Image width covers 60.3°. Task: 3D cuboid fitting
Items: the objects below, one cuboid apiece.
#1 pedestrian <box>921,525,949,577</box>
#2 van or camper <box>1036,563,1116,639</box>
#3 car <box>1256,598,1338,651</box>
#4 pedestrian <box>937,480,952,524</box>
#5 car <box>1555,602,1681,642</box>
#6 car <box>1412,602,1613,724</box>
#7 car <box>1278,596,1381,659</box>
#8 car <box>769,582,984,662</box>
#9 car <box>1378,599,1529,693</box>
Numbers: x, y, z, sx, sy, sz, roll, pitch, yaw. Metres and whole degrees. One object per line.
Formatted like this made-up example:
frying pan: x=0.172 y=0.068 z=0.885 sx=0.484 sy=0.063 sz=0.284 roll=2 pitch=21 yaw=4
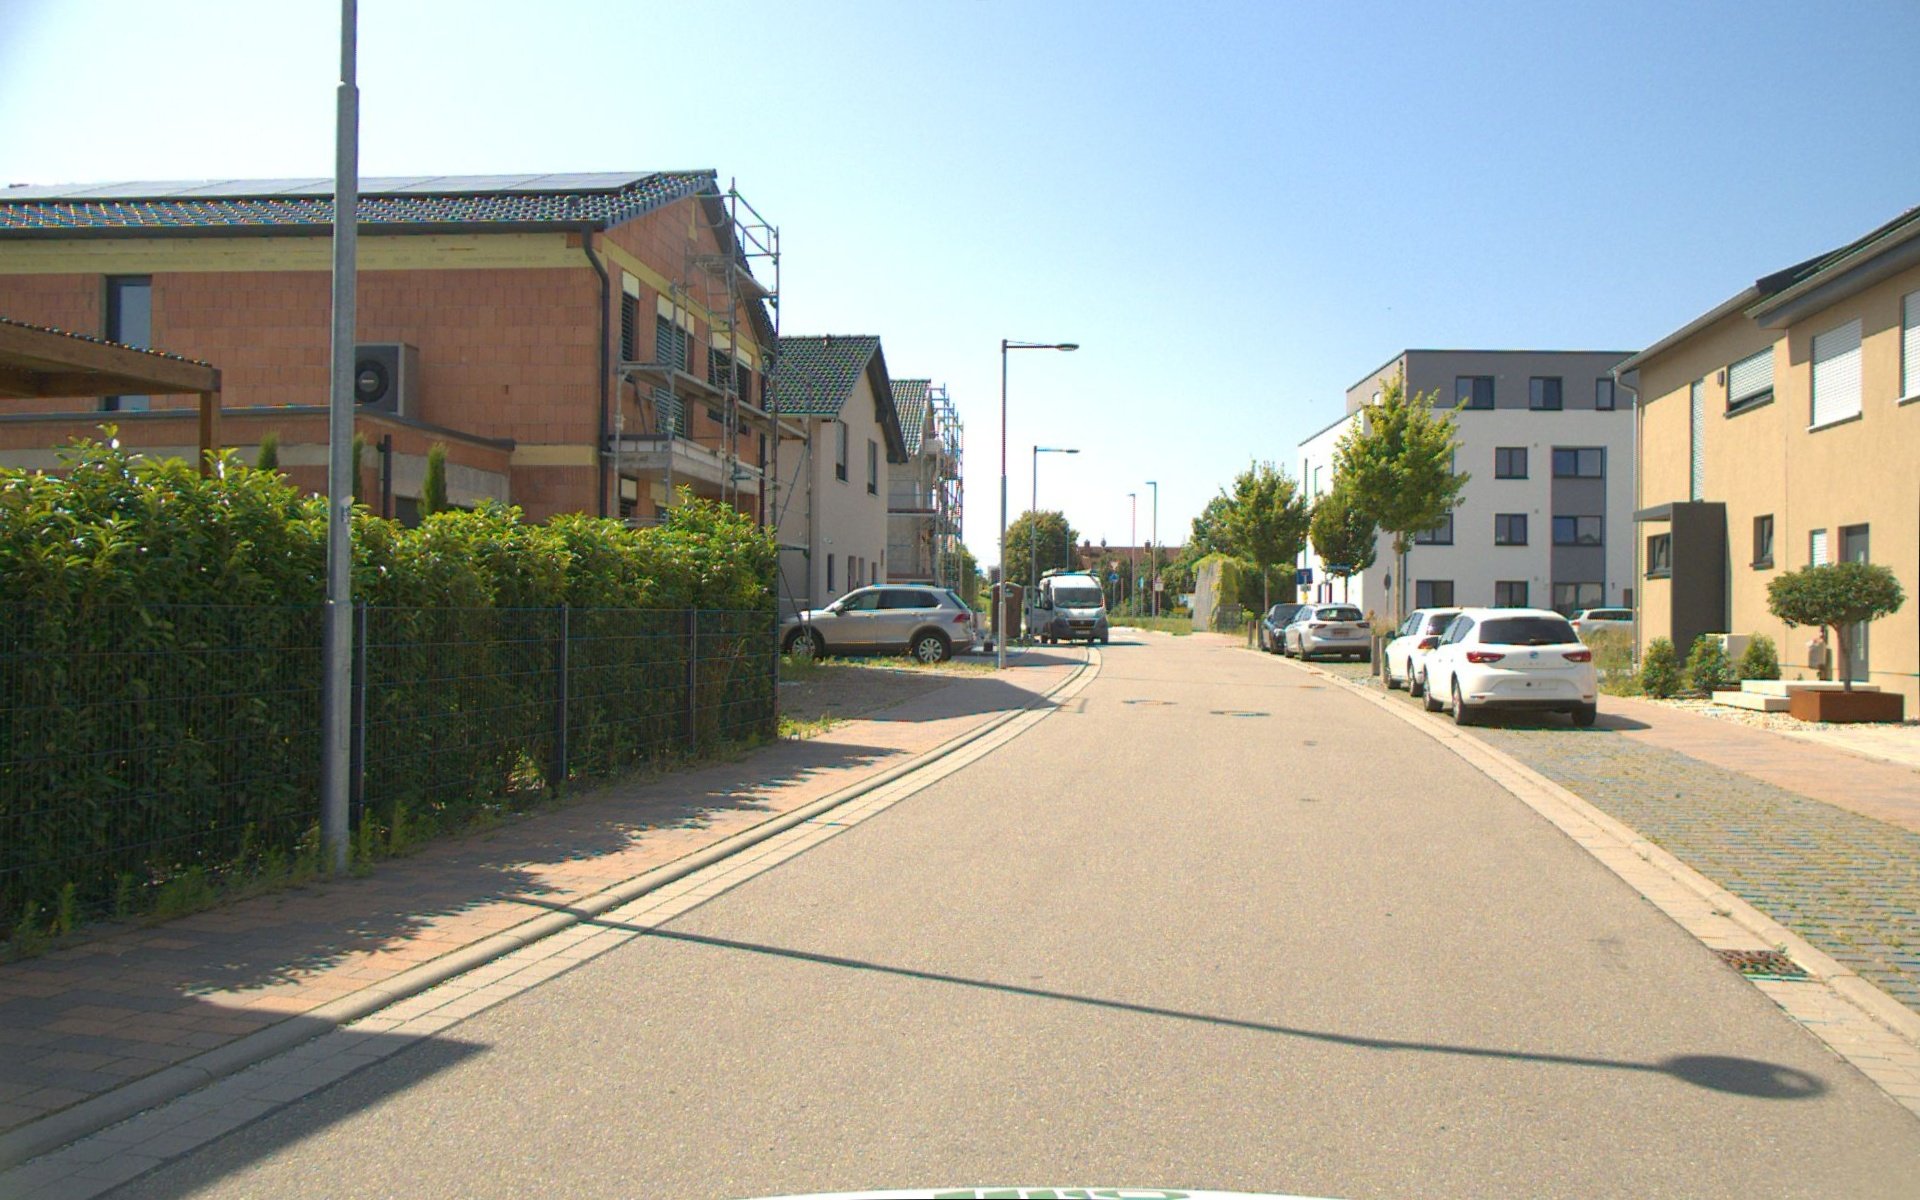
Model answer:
pedestrian: x=-0.848 y=-1.670 z=56.305 sx=0.741 sy=1.709 sz=0.570 roll=2 pitch=-3 yaw=-39
van or camper: x=4.154 y=0.077 z=60.398 sx=2.227 sy=2.598 sz=6.363 roll=0 pitch=-1 yaw=-3
car: x=10.298 y=0.708 z=50.851 sx=1.878 sy=1.495 sz=5.143 roll=-1 pitch=0 yaw=5
pedestrian: x=-0.574 y=-3.613 z=61.055 sx=0.550 sy=1.526 sz=0.748 roll=0 pitch=-2 yaw=-3
car: x=24.992 y=0.839 z=62.899 sx=4.072 sy=1.461 sz=1.883 roll=0 pitch=-1 yaw=2
car: x=7.411 y=0.783 z=22.603 sx=1.775 sy=1.481 sz=4.568 roll=-1 pitch=0 yaw=8
car: x=9.909 y=0.697 z=44.717 sx=1.878 sy=1.537 sz=5.297 roll=-1 pitch=0 yaw=4
car: x=-1.713 y=0.444 z=34.954 sx=4.331 sy=1.640 sz=2.001 roll=0 pitch=0 yaw=4
car: x=8.500 y=0.745 z=28.847 sx=1.742 sy=1.451 sz=4.517 roll=-1 pitch=0 yaw=6
